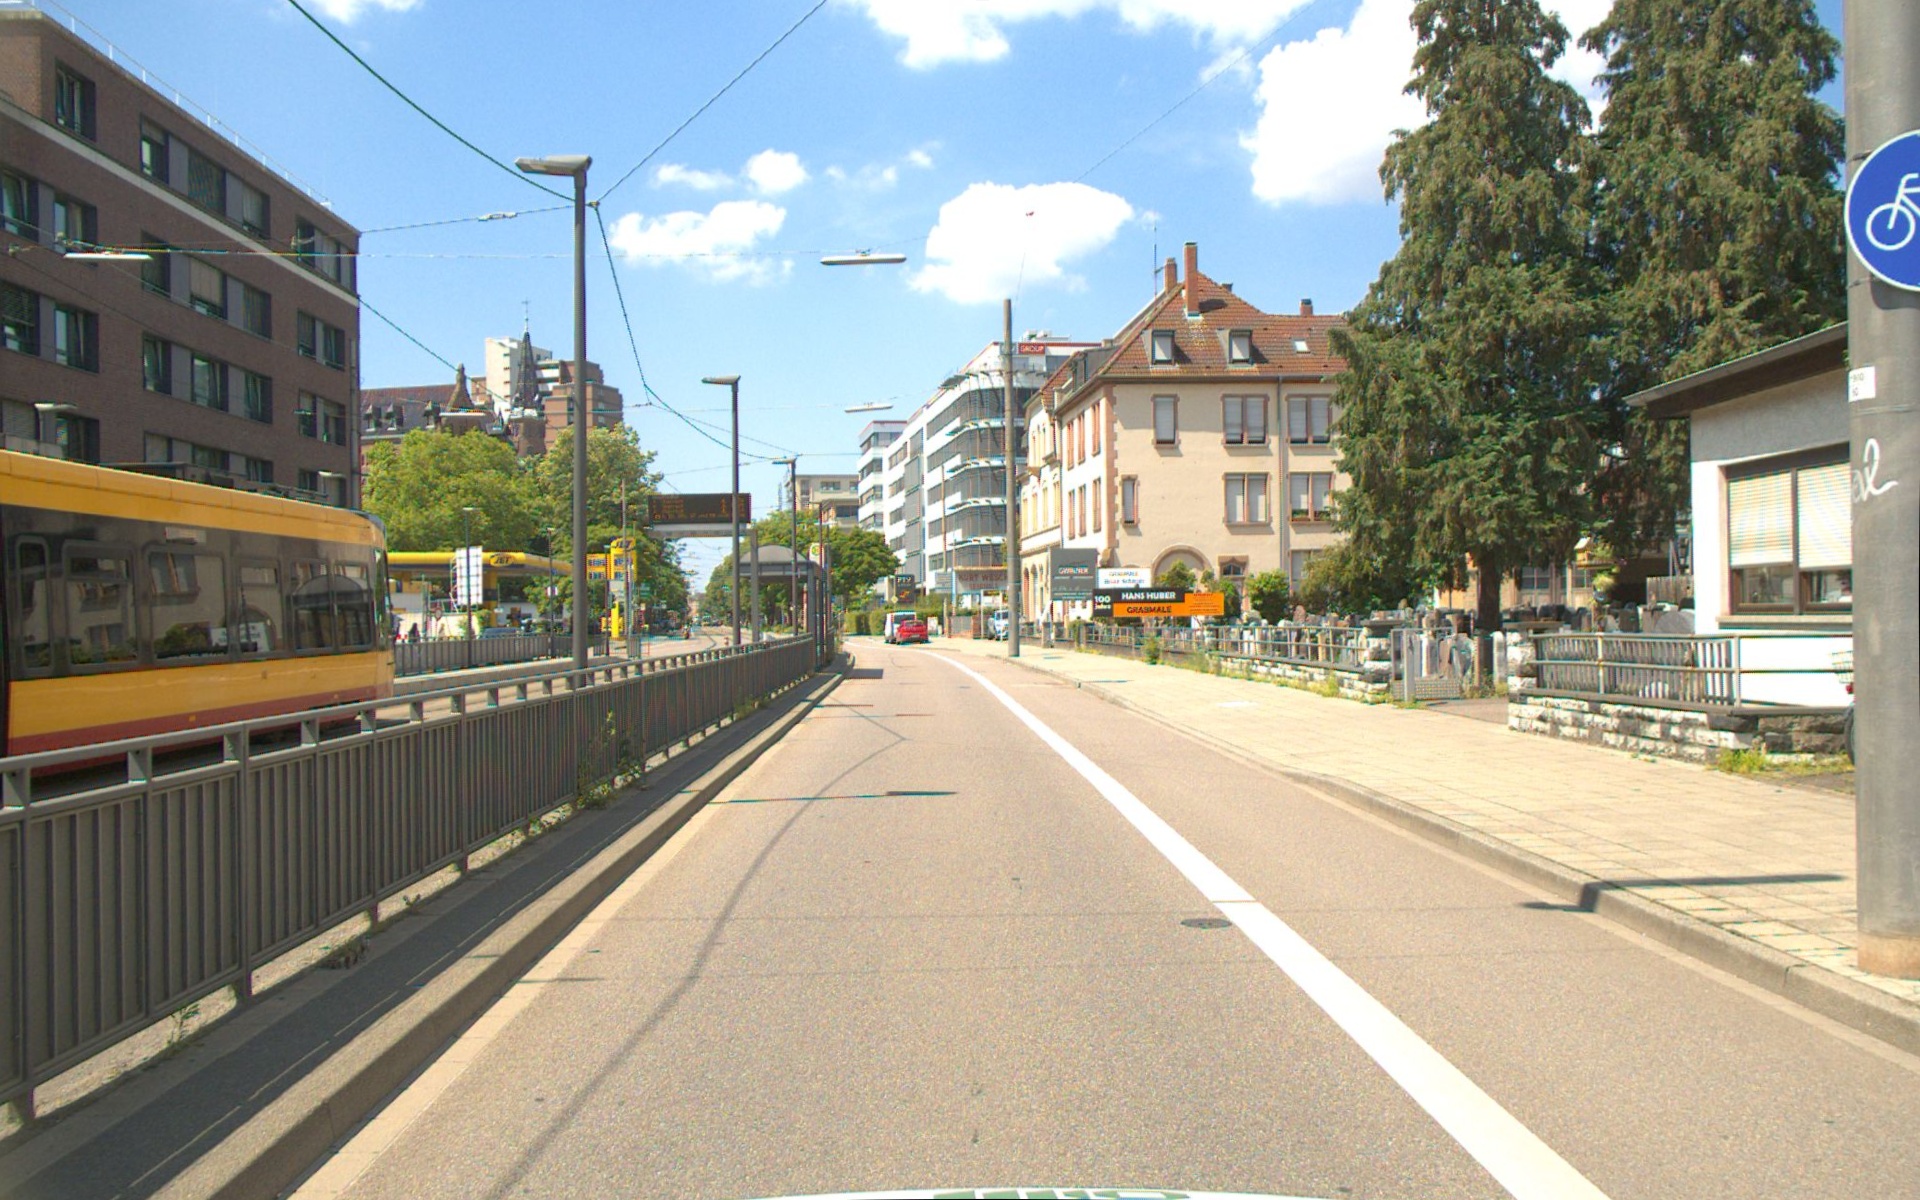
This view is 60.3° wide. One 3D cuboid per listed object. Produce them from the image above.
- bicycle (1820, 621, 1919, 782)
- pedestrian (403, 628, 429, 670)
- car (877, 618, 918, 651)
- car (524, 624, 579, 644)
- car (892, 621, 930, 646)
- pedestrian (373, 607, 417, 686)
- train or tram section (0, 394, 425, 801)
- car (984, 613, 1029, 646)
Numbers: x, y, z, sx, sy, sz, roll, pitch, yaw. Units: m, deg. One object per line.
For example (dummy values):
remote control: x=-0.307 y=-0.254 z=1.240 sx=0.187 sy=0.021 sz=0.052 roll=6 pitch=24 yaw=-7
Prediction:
bicycle: x=7.094 y=0.702 z=11.911 sx=1.500 sy=1.105 sz=0.430 roll=-3 pitch=-1 yaw=4
pedestrian: x=-21.724 y=1.939 z=66.059 sx=0.745 sy=1.624 sz=0.998 roll=2 pitch=-1 yaw=-7
car: x=-4.127 y=2.257 z=108.717 sx=1.957 sy=2.026 sz=5.502 roll=-3 pitch=0 yaw=-9
car: x=-34.457 y=2.888 z=139.675 sx=1.959 sy=1.618 sz=4.319 roll=-2 pitch=-1 yaw=35
car: x=-3.060 y=2.061 z=102.138 sx=1.956 sy=1.467 sz=4.010 roll=-1 pitch=-1 yaw=-7
pedestrian: x=-13.164 y=1.067 z=38.536 sx=0.671 sy=1.791 sz=1.033 roll=-2 pitch=-1 yaw=-3
train or tram section: x=-10.246 y=0.097 z=19.161 sx=3.170 sy=3.630 sz=16.342 roll=-1 pitch=-1 yaw=-2
car: x=2.594 y=1.650 z=92.871 sx=1.842 sy=1.652 sz=4.632 roll=-4 pitch=-1 yaw=-6
